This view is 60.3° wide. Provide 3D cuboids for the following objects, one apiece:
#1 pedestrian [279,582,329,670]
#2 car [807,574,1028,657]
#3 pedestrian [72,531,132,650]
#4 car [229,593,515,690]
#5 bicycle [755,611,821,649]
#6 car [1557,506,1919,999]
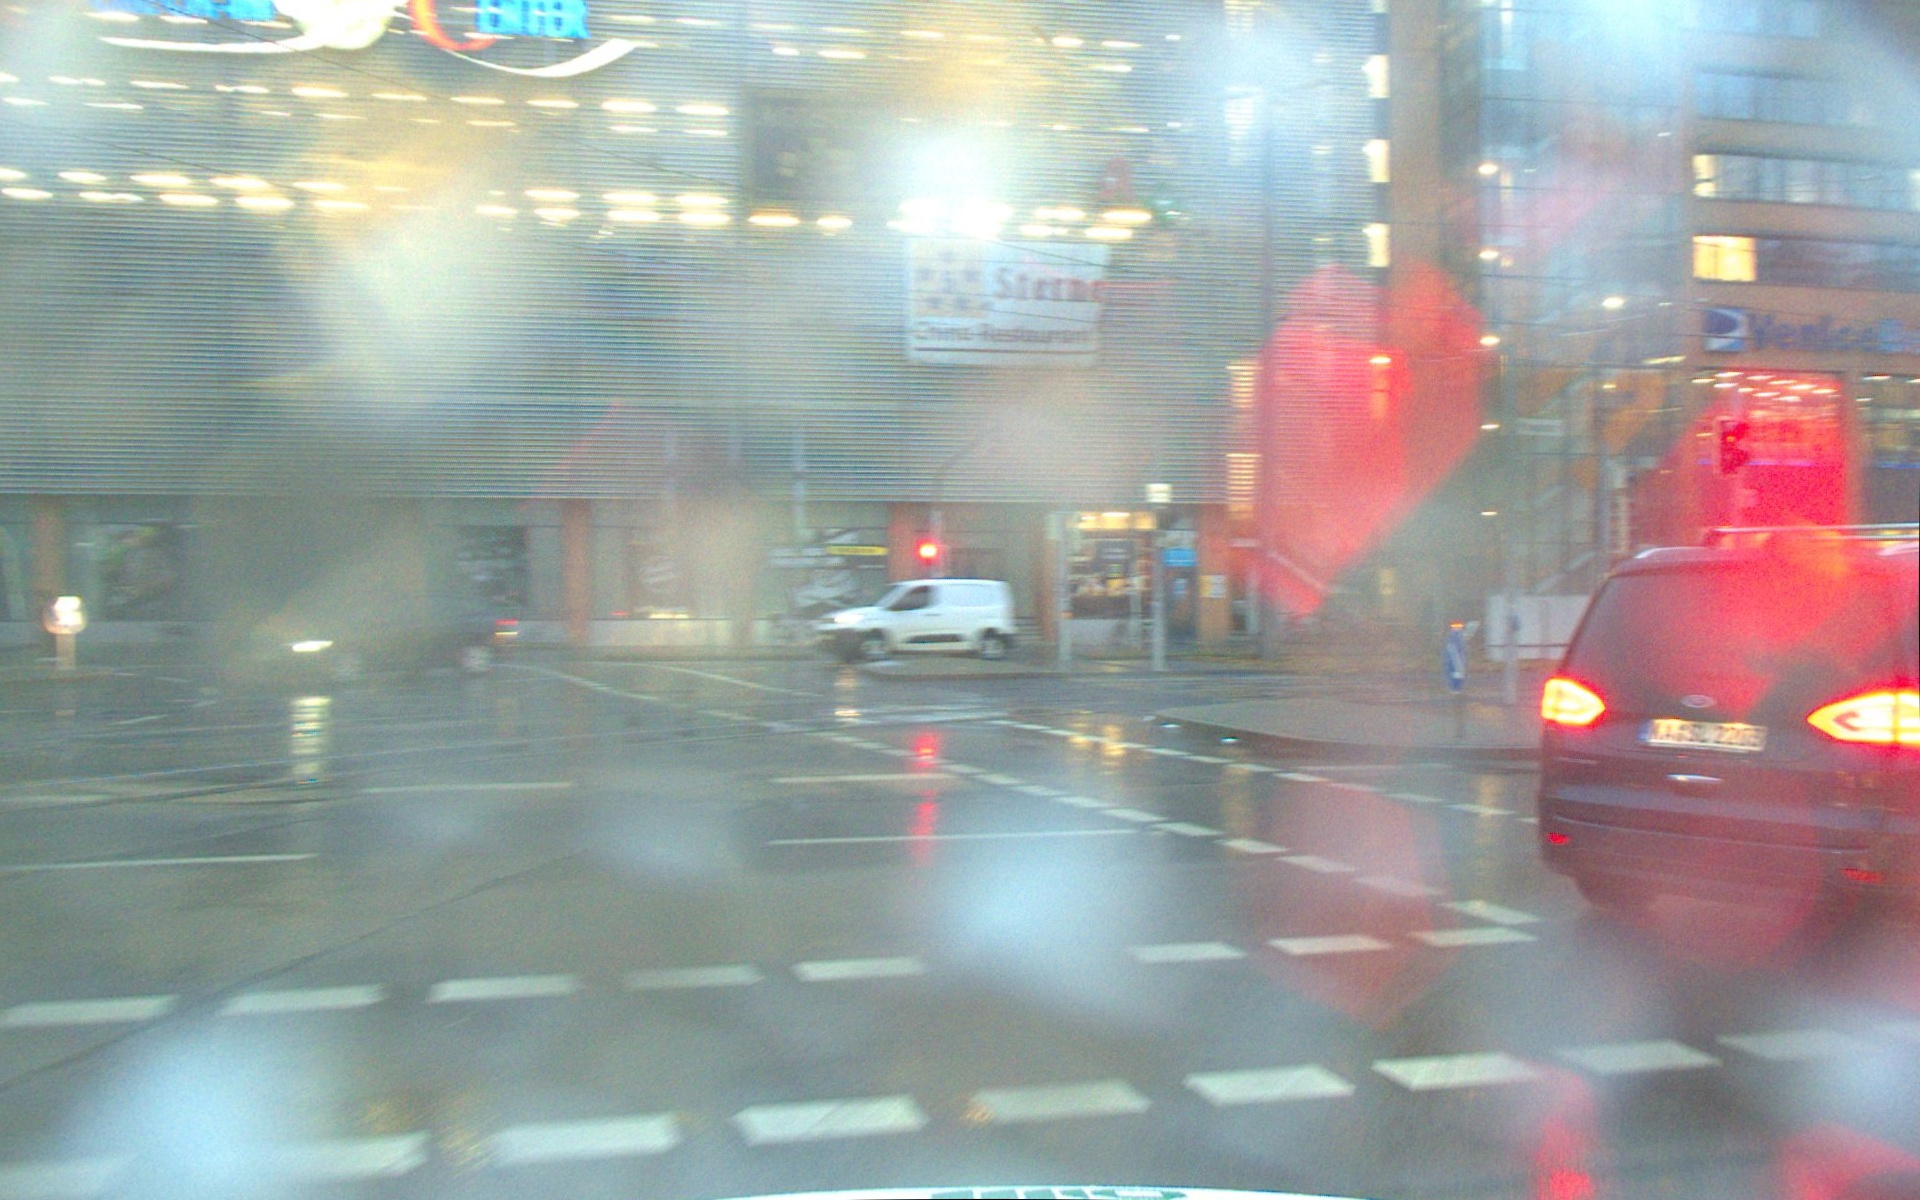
[{"bbox_3d":[-19.005,0.754,47.955,1.089,2.482,0.964,1,-1,-7],"label":"pedestrian"},{"bbox_3d":[-0.943,0.314,36.603,4.533,1.749,1.916,0,0,-23],"label":"car"},{"bbox_3d":[-21.829,-0.220,42.113,0.944,2.976,1.112,1,-1,-7],"label":"pedestrian"},{"bbox_3d":[-9.647,0.635,27.452,1.596,1.470,4.409,0,0,34],"label":"car"},{"bbox_3d":[-5.419,0.944,52.092,2.045,1.141,0.476,1,-1,-9],"label":"bicycle"},{"bbox_3d":[4.483,0.557,7.917,1.650,1.811,3.974,0,0,43],"label":"car"}]
